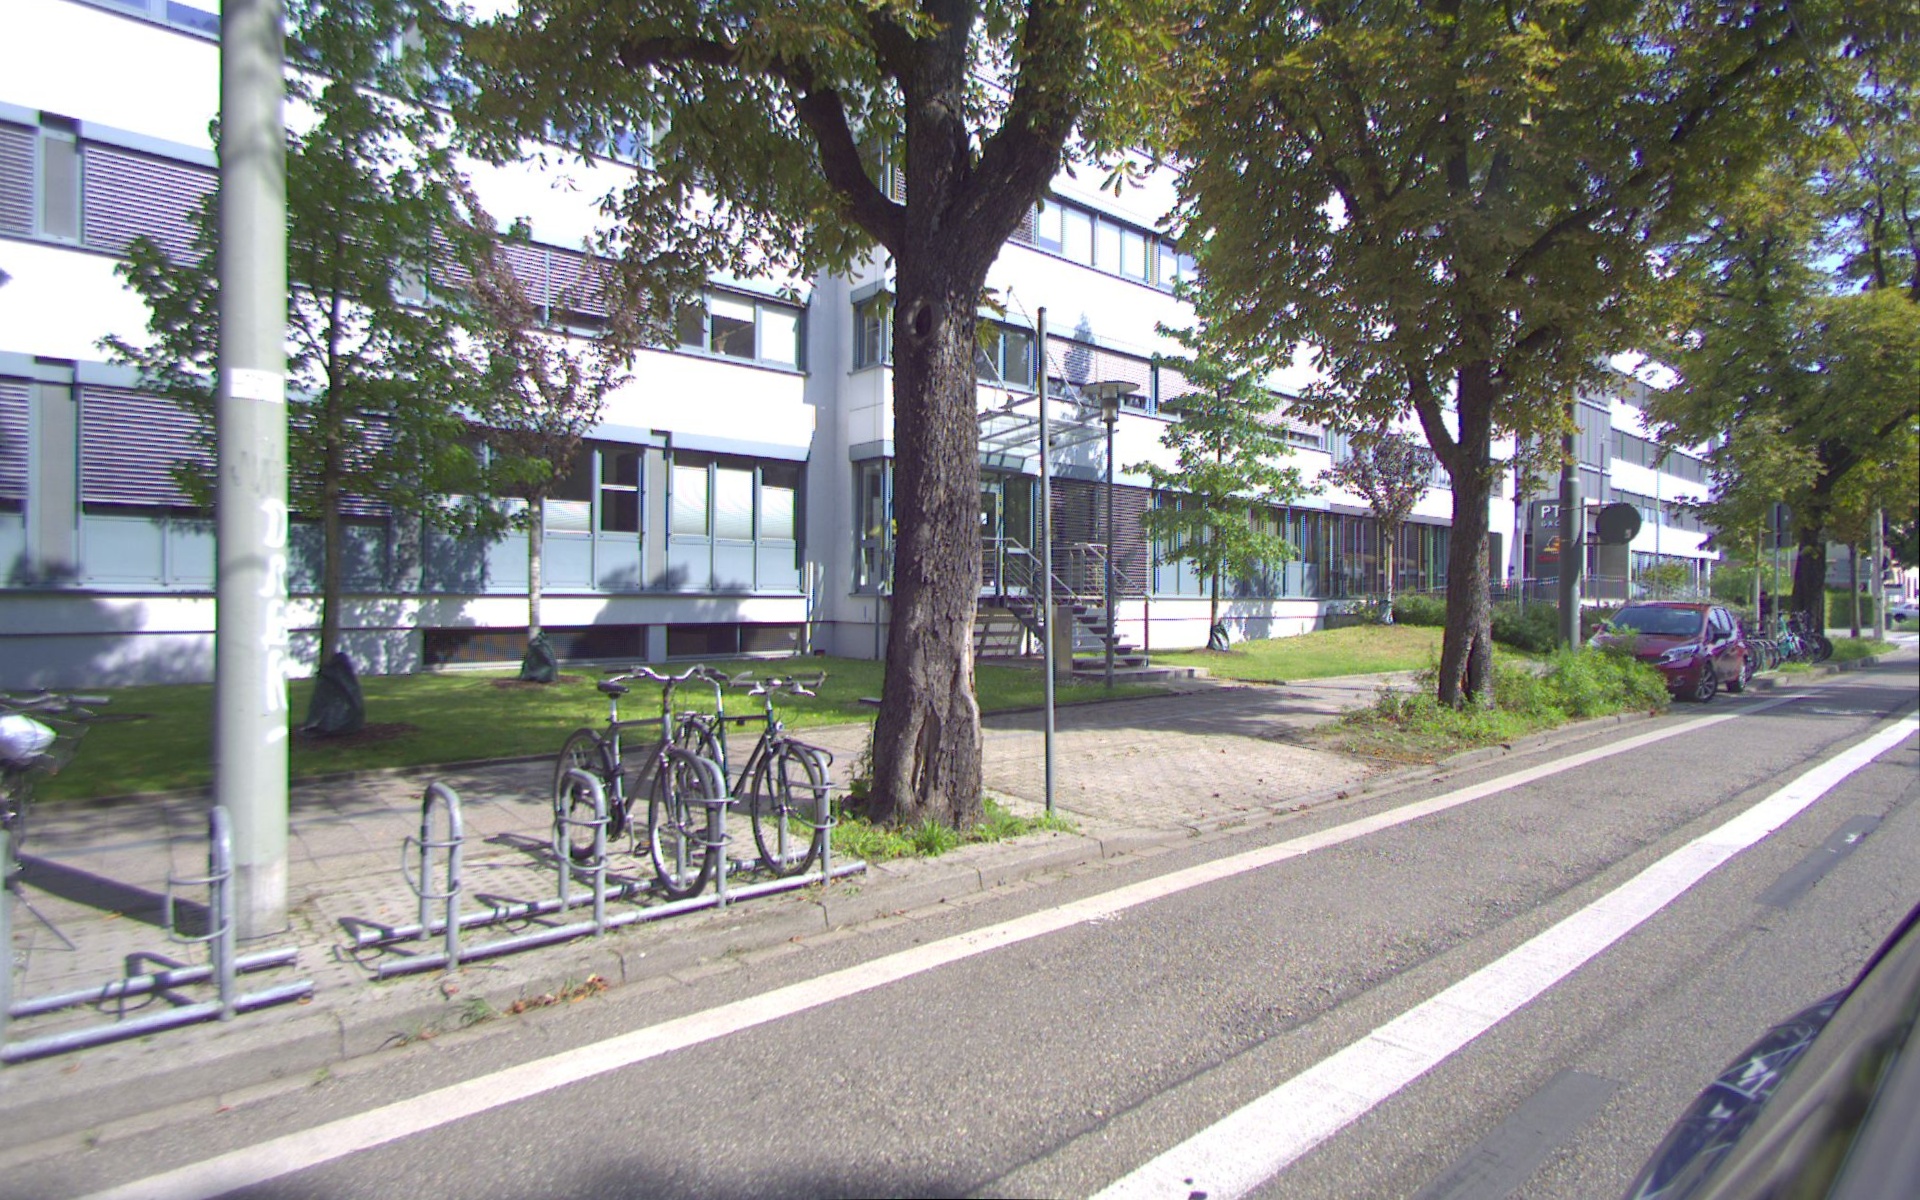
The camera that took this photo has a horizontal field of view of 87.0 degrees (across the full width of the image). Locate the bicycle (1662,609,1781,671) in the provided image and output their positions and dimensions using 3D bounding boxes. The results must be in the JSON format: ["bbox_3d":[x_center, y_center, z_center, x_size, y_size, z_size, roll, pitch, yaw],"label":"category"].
[{"bbox_3d":[14.829,0.757,19.735,0.531,1.085,1.774,0,1,-41],"label":"bicycle"}]

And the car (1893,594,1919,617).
[{"bbox_3d":[66.750,0.358,69.028,4.540,1.534,1.930,0,0,45],"label":"car"}]

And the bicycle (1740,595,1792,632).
[{"bbox_3d":[26.040,0.405,32.672,1.135,1.139,2.497,0,0,43],"label":"bicycle"}]

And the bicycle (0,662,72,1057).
[{"bbox_3d":[-3.567,0.828,3.649,0.531,1.063,1.774,0,1,-41],"label":"bicycle"}]

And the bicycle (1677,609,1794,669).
[{"bbox_3d":[15.462,0.751,20.221,0.531,1.085,1.774,0,1,-41],"label":"bicycle"}]

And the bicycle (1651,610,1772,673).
[{"bbox_3d":[14.313,0.762,19.320,0.531,1.085,1.774,0,1,-41],"label":"bicycle"}]

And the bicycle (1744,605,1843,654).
[{"bbox_3d":[20.187,0.703,24.533,0.531,1.085,1.774,0,1,-41],"label":"bicycle"}]

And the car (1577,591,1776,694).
[{"bbox_3d":[11.969,0.600,16.812,4.200,1.480,1.759,0,1,-41],"label":"car"}]

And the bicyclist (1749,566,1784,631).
[{"bbox_3d":[25.967,-0.045,32.593,0.780,2.039,1.254,0,0,43],"label":"bicyclist"}]

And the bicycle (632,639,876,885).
[{"bbox_3d":[-1.215,0.805,5.672,0.531,1.063,1.774,0,1,-41],"label":"bicycle"}]

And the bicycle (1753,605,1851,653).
[{"bbox_3d":[20.732,0.698,24.947,0.531,1.085,1.774,0,1,-41],"label":"bicycle"}]

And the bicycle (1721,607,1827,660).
[{"bbox_3d":[18.172,0.724,22.623,0.531,1.085,1.774,0,1,-41],"label":"bicycle"}]

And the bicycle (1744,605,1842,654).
[{"bbox_3d":[20.163,0.703,24.527,0.531,1.085,1.774,0,1,-41],"label":"bicycle"}]

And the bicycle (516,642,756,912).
[{"bbox_3d":[-1.745,0.810,5.267,0.531,1.063,1.774,0,1,-41],"label":"bicycle"}]

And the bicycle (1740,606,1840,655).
[{"bbox_3d":[19.763,0.708,24.120,0.531,1.085,1.774,0,1,-41],"label":"bicycle"}]

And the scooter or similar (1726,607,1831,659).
[{"bbox_3d":[18.593,0.720,23.019,0.531,1.085,1.774,0,1,-41],"label":"scooter or similar"}]

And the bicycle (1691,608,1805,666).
[{"bbox_3d":[16.277,0.743,20.934,0.531,1.085,1.774,0,1,-41],"label":"bicycle"}]

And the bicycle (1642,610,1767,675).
[{"bbox_3d":[13.780,0.768,18.772,0.531,1.085,1.774,0,1,-41],"label":"bicycle"}]
